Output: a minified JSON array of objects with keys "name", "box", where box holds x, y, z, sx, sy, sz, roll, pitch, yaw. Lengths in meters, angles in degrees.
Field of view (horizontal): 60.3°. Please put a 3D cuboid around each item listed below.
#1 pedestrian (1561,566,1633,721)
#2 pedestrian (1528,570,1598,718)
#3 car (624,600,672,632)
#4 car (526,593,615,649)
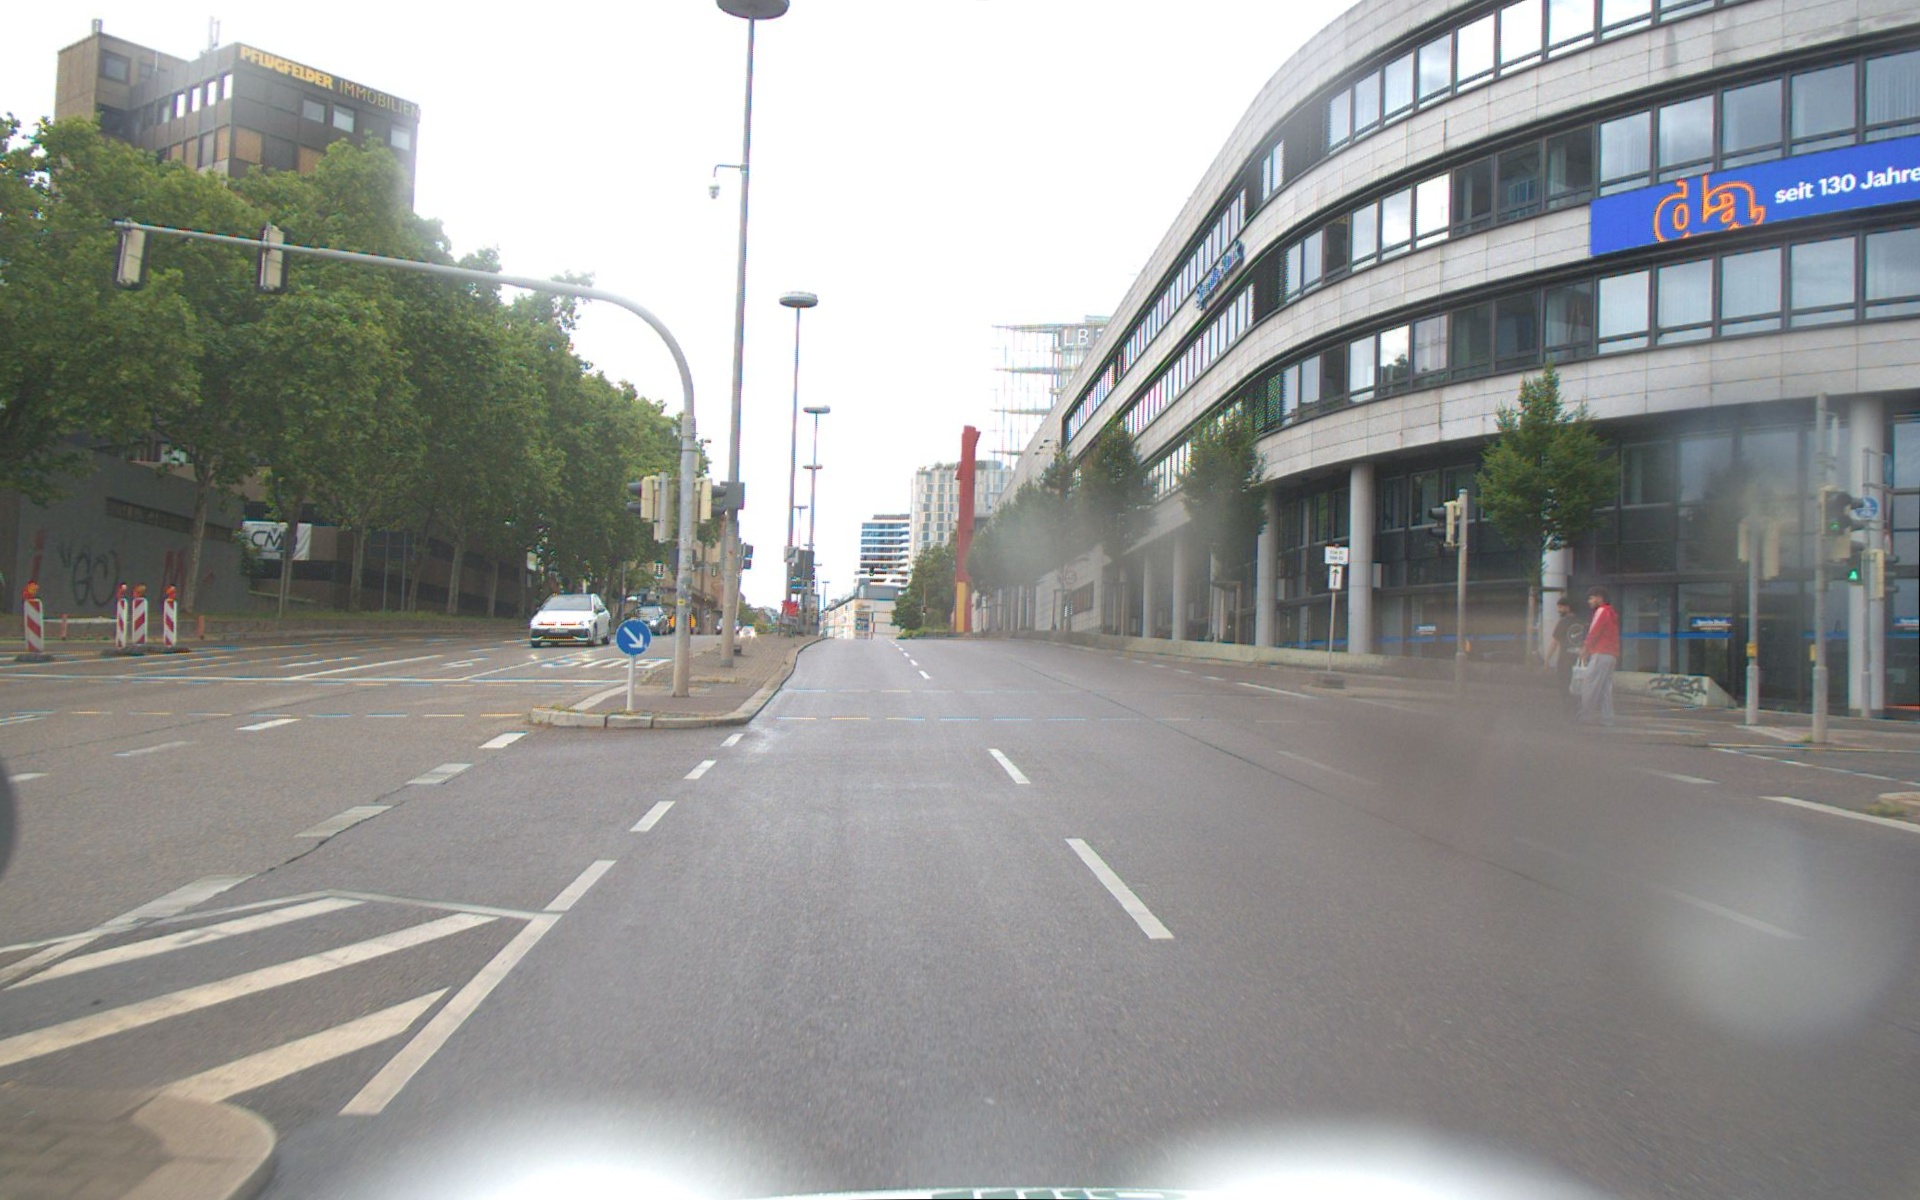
[{"name":"pedestrian","box":[8.170,0.558,21.197,0.823,1.938,0.861,1,-3,23]},{"name":"pedestrian","box":[8.111,0.583,22.232,0.823,1.938,0.731,1,-2,23]},{"name":"car","box":[-15.197,0.750,80.733,1.771,1.474,4.336,1,0,-4]},{"name":"car","box":[-11.005,0.568,46.954,1.726,1.486,4.356,0,0,-3]}]
